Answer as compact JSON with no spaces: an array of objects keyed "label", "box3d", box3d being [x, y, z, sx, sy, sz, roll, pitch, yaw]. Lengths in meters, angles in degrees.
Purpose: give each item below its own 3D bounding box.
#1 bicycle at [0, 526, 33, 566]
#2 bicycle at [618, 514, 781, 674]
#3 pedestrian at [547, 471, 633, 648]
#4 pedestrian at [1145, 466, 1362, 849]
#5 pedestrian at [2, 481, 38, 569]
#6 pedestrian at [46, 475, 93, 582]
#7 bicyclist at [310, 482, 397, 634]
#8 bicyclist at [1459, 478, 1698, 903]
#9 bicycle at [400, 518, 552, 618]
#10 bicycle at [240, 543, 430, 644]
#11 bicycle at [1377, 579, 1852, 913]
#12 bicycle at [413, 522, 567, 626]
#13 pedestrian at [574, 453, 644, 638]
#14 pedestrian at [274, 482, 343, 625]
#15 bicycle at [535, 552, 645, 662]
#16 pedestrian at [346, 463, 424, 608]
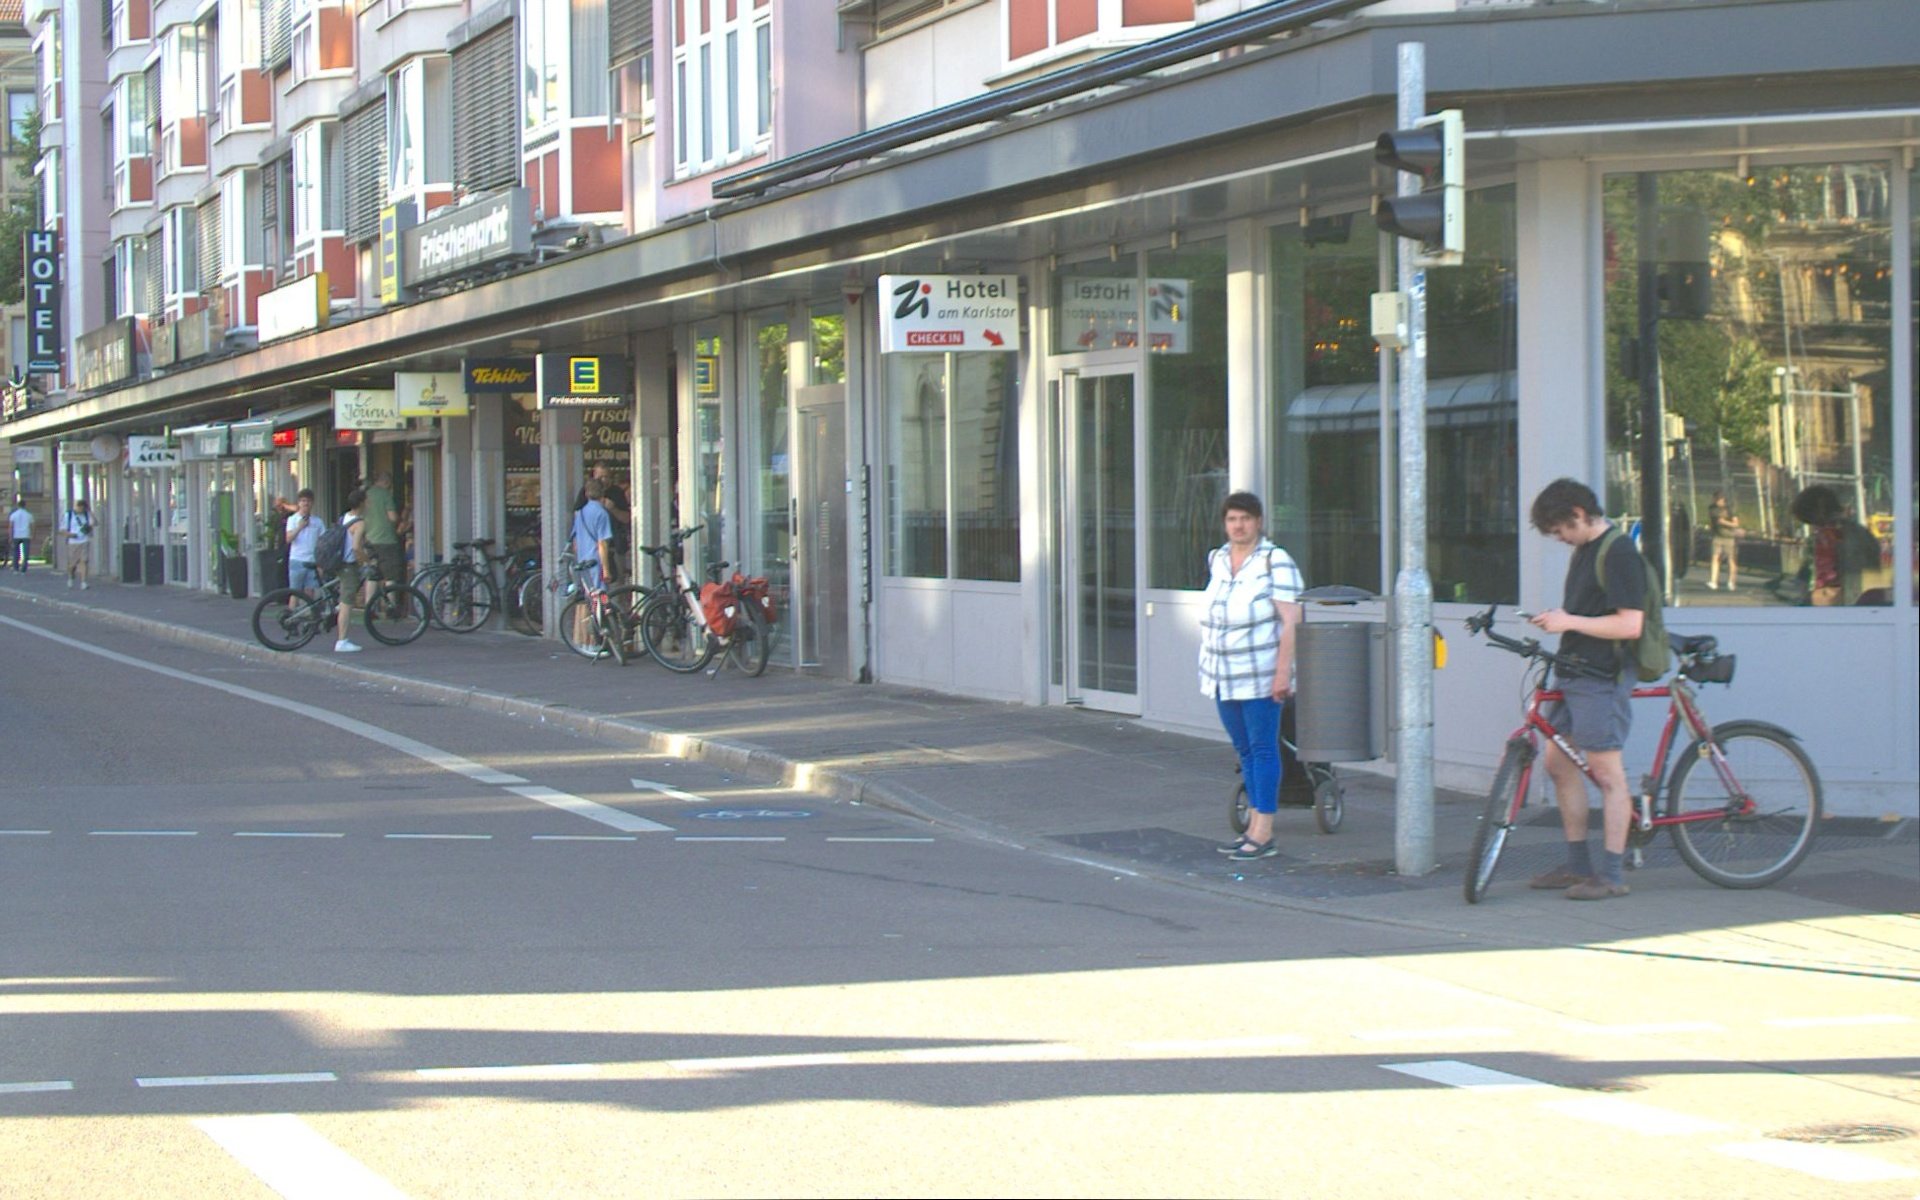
[{"label":"bicycle","box3d":[-25.241,-1.354,87.606,0.900,0.989,3.165,3,4,42]},{"label":"bicycle","box3d":[-2.131,-0.079,27.865,0.727,1.222,2.333,-1,2,-20]},{"label":"pedestrian","box3d":[-3.495,-0.391,32.497,0.609,1.629,0.603,2,3,21]},{"label":"pedestrian","box3d":[1.308,0.238,15.322,0.716,1.656,0.632,0,2,41]},{"label":"pedestrian","box3d":[-21.703,-1.734,79.361,0.773,2.006,0.505,0,3,-16]},{"label":"pedestrian","box3d":[-16.853,-1.361,65.053,0.839,2.006,0.778,0,3,-16]},{"label":"bicyclist","box3d":[-6.352,-0.450,36.057,0.799,1.527,0.629,-3,3,-9]},{"label":"bicyclist","box3d":[2.445,0.336,13.601,0.656,1.591,0.641,-4,4,-21]},{"label":"bicycle","box3d":[-5.603,-0.382,39.802,1.643,1.115,0.566,-1,3,-25]},{"label":"bicycle","box3d":[-6.594,-0.073,36.339,1.904,0.927,0.629,-4,3,-9]},{"label":"bicycle","box3d":[2.608,0.552,13.678,1.763,1.141,0.641,-4,4,-21]},{"label":"bicycle","box3d":[-5.249,-0.302,38.417,1.643,1.115,0.484,-1,3,-25]},{"label":"pedestrian","box3d":[-3.554,-0.556,34.817,0.608,1.846,0.604,0,3,-15]},{"label":"pedestrian","box3d":[-7.625,-0.551,40.245,0.750,1.639,0.550,0,3,-15]},{"label":"bicycle","box3d":[-3.315,0.044,30.667,0.499,0.914,2.079,-1,2,-20]},{"label":"pedestrian","box3d":[-7.141,-0.804,42.703,0.818,1.772,0.680,1,3,5]}]
